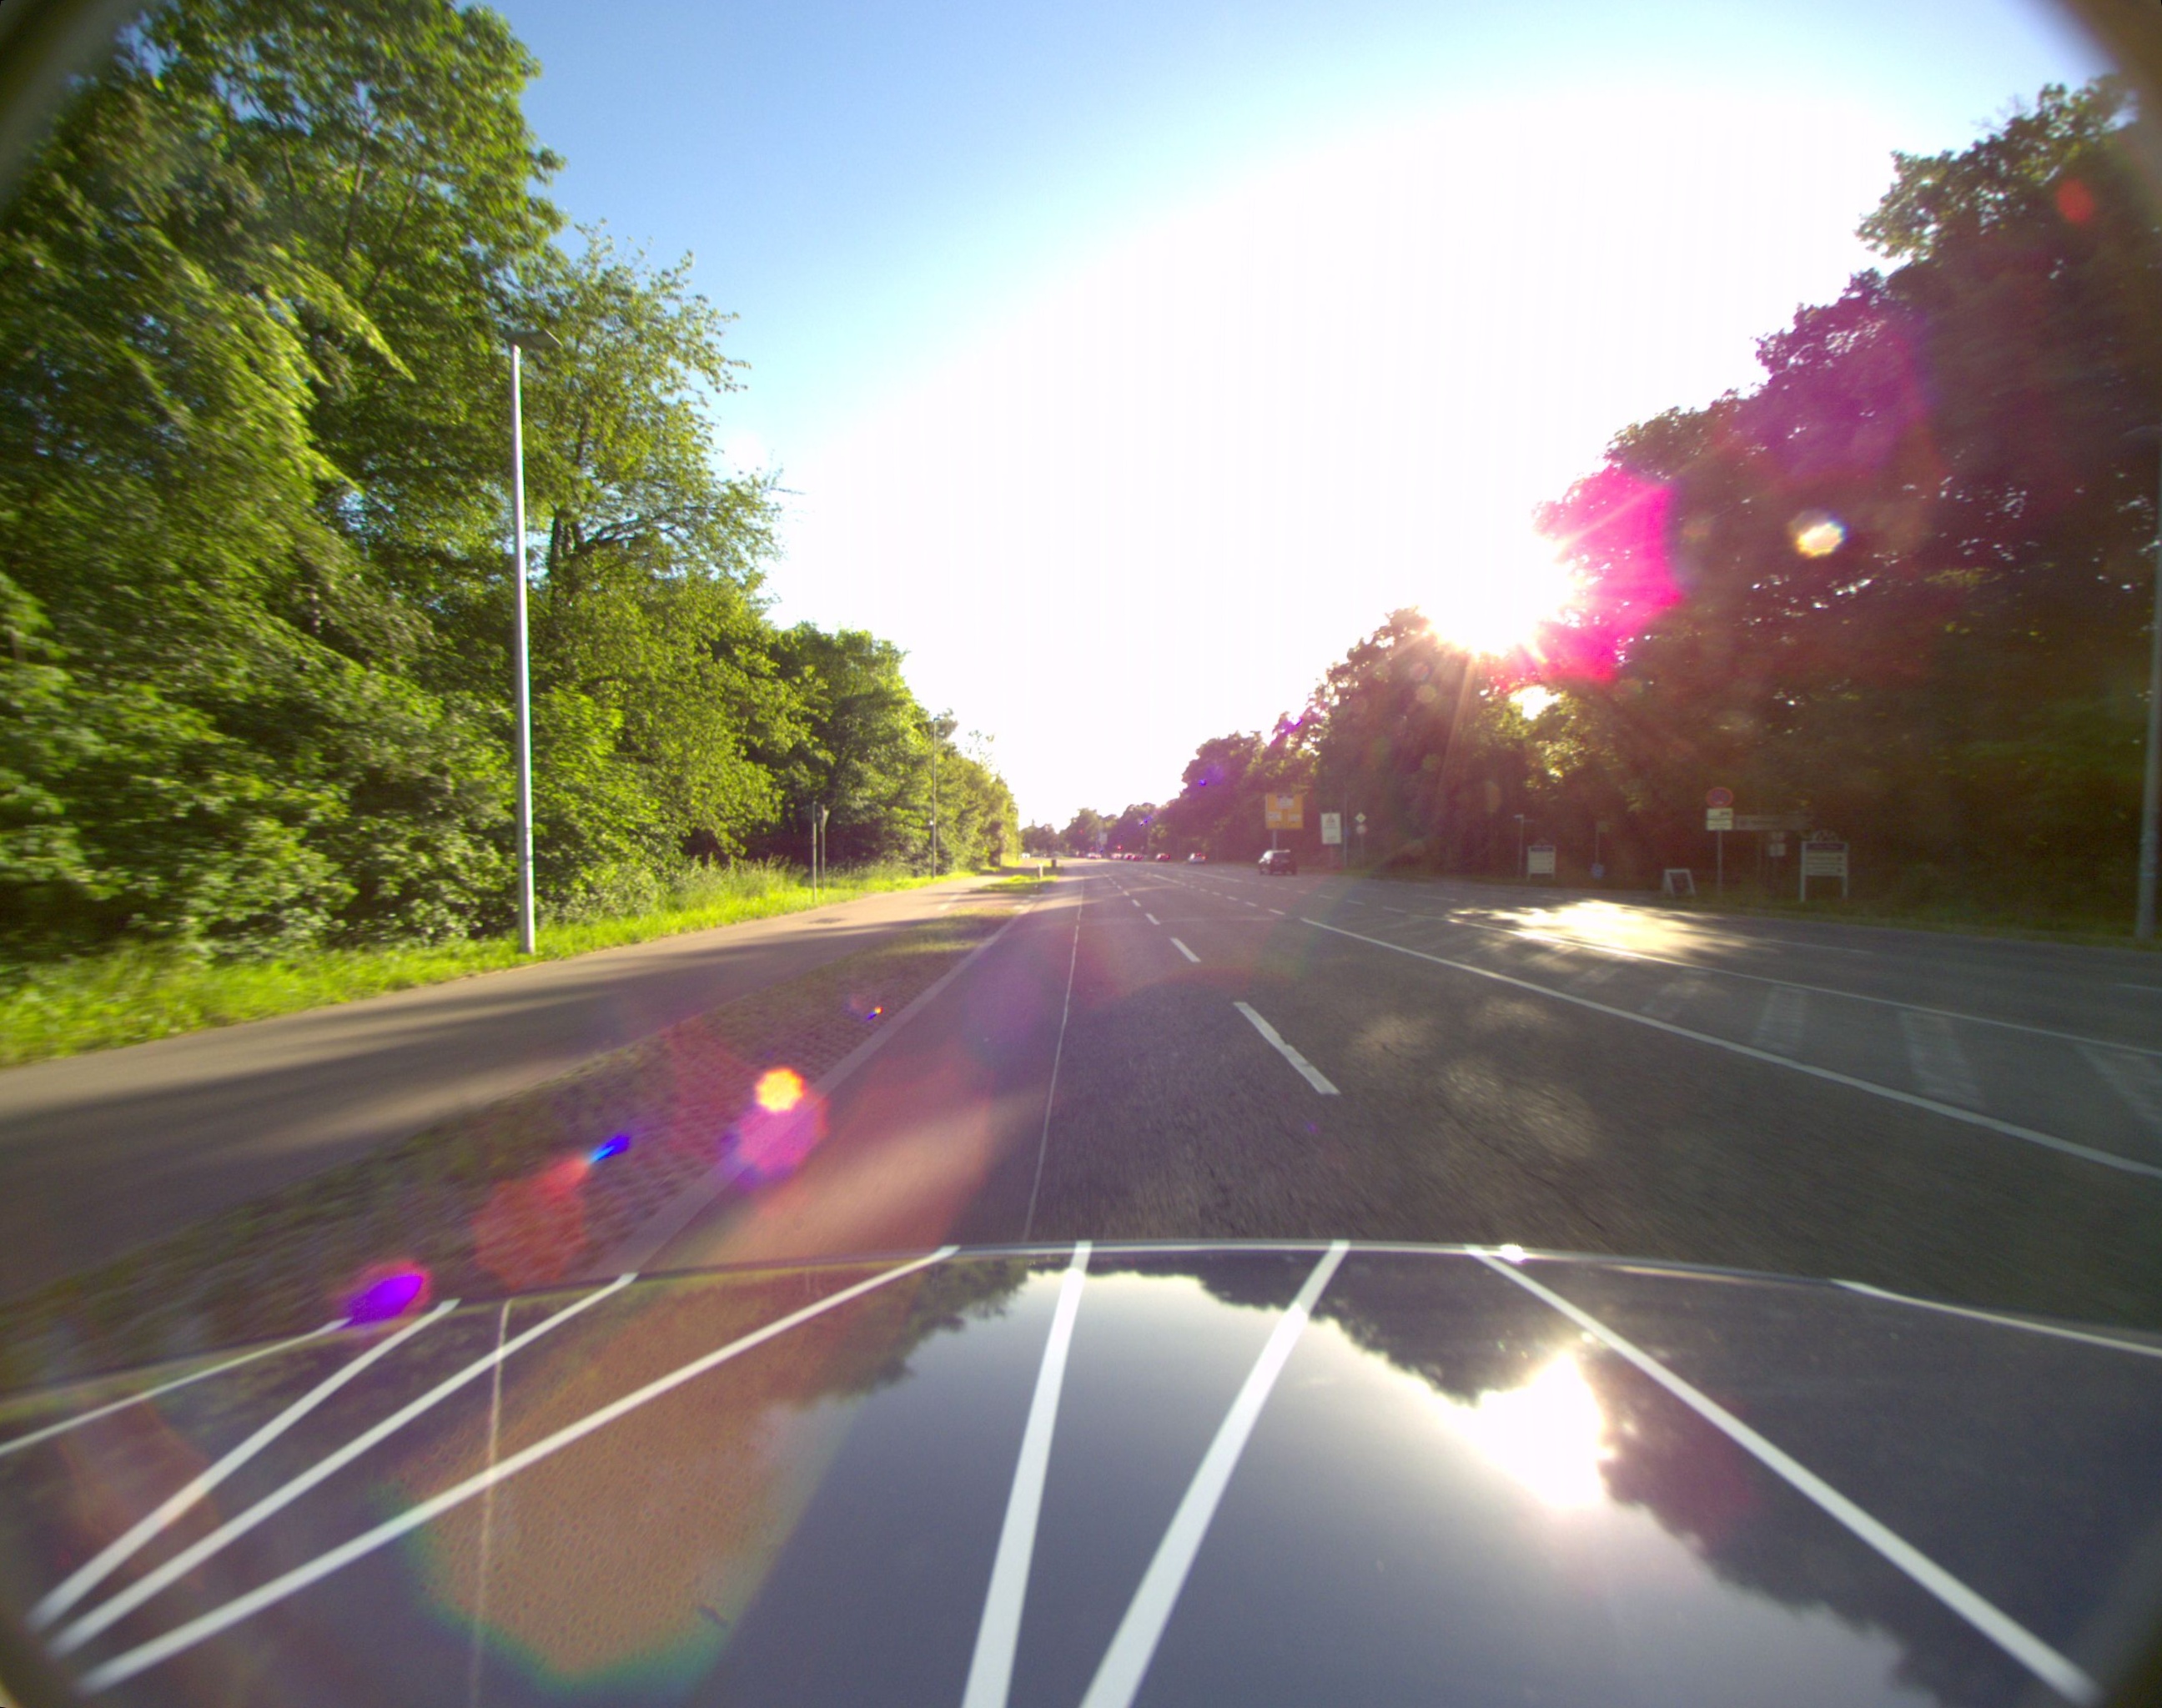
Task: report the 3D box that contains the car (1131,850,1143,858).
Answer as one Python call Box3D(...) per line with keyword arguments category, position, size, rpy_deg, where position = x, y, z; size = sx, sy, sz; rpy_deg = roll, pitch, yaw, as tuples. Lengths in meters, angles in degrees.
Box3D(category="car", position=(12.027, -0.042, 163.695), size=(1.999, 1.555, 4.336), rpy_deg=(0, 0, -4))

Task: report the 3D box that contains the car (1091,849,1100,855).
Box3D(category="car", position=(3.552, -0.484, 184.916), size=(1.749, 1.227, 4.671), rpy_deg=(0, 0, -4))

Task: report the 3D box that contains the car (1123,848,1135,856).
Box3D(category="car", position=(10.864, -0.437, 171.714), size=(2.000, 1.627, 4.840), rpy_deg=(0, 0, -6))

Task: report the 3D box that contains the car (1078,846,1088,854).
Box3D(category="car", position=(0.537, -1.097, 206.528), size=(2.000, 1.950, 4.643), rpy_deg=(1, 0, -9))

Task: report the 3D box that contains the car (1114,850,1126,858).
Box3D(category="car", position=(9.218, -0.024, 178.919), size=(2.000, 1.555, 4.645), rpy_deg=(3, 0, -6))

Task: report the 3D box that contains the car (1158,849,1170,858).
Box3D(category="car", position=(14.750, -0.112, 134.996), size=(1.829, 1.536, 4.257), rpy_deg=(0, 0, 3))

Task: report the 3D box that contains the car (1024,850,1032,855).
Box3D(category="car", position=(-17.271, -0.435, 248.149), size=(2.000, 1.510, 3.995), rpy_deg=(-1, 2, -11))

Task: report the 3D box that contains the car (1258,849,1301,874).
Box3D(category="car", position=(13.182, 0.449, 50.732), size=(1.829, 1.580, 4.351), rpy_deg=(-1, 0, 1))

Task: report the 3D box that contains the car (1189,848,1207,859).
Box3D(category="car", position=(16.135, -0.088, 104.883), size=(1.829, 1.495, 4.306), rpy_deg=(-1, 0, 1))
